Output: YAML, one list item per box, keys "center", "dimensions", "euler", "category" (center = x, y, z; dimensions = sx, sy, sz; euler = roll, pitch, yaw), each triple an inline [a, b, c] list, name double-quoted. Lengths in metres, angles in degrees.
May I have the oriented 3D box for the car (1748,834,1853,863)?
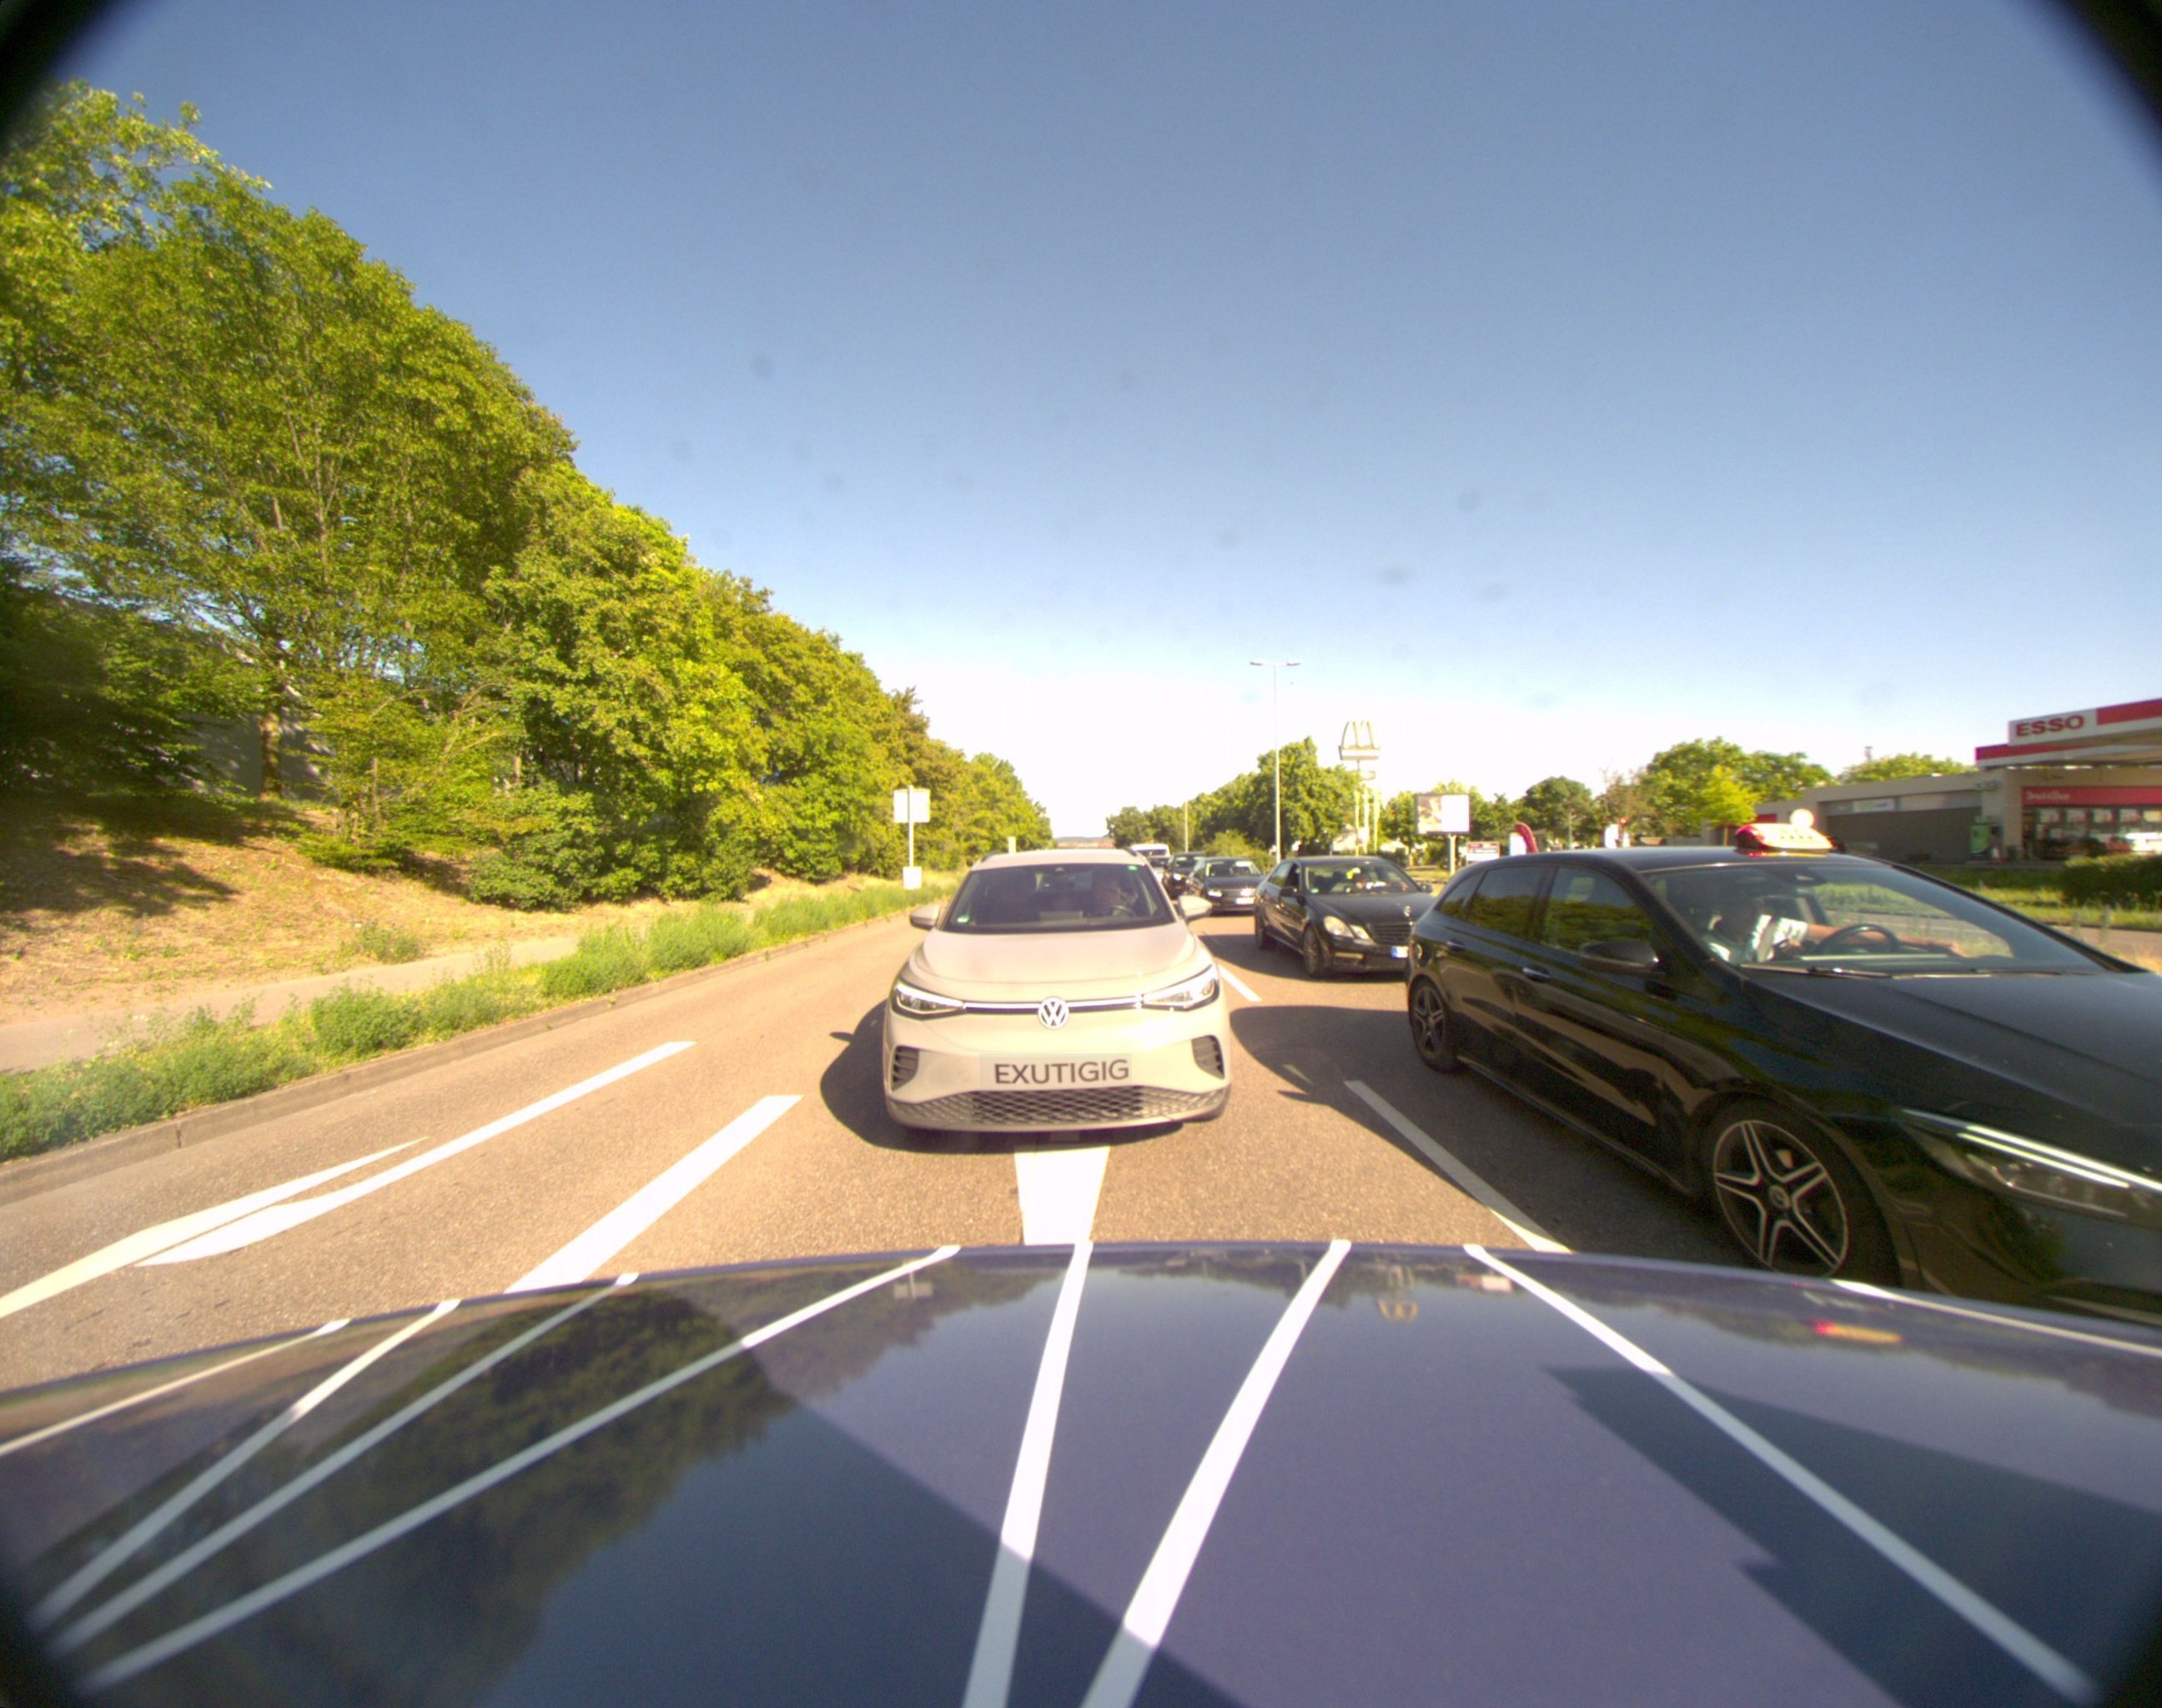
- center: [37.461, -0.291, 39.703]
  dimensions: [1.682, 1.401, 3.978]
  euler: [1, 1, 0]
  category: "car"

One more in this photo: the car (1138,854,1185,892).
- center: [3.571, 0.790, 34.177]
  dimensions: [1.635, 1.547, 3.777]
  euler: [-2, 0, 0]
  category: "car"

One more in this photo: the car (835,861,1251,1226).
- center: [-0.181, 0.898, 5.714]
  dimensions: [1.862, 1.573, 4.403]
  euler: [-2, 0, 0]
  category: "car"

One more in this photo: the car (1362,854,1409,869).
- center: [29.167, 0.722, 72.757]
  dimensions: [3.983, 1.401, 1.761]
  euler: [1, 1, -22]
  category: "car"

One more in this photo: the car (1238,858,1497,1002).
- center: [3.589, 0.849, 10.512]
  dimensions: [1.868, 1.430, 4.402]
  euler: [-2, 1, 0]
  category: "car"

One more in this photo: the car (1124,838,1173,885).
- center: [3.650, 0.384, 42.106]
  dimensions: [2.019, 2.349, 6.523]
  euler: [-2, 0, 0]
  category: "car"

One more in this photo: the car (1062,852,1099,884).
- center: [-0.046, 0.712, 39.867]
  dimensions: [1.763, 1.482, 4.402]
  euler: [-2, 1, 0]
  category: "car"

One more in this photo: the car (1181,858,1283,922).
- center: [3.872, 0.859, 20.228]
  dimensions: [1.797, 1.419, 4.287]
  euler: [-2, 0, 0]
  category: "car"

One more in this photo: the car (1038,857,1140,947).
- center: [0.135, 0.871, 15.771]
  dimensions: [1.763, 1.482, 4.402]
  euler: [-2, 1, 0]
  category: "car"

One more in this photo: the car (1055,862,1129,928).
- center: [0.264, 1.038, 20.939]
  dimensions: [1.763, 1.482, 4.402]
  euler: [-2, 1, 0]
  category: "car"

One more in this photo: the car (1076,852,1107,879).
- center: [0.613, 0.690, 47.034]
  dimensions: [1.763, 1.482, 4.402]
  euler: [-2, 1, 0]
  category: "car"

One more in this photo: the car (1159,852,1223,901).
- center: [3.903, 0.756, 27.488]
  dimensions: [1.674, 1.607, 3.879]
  euler: [-2, 0, 0]
  category: "car"

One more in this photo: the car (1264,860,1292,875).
- center: [19.651, 1.334, 76.022]
  dimensions: [1.763, 1.401, 3.978]
  euler: [1, 1, 0]
  category: "car"

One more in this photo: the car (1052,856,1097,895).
- center: [-0.259, 0.881, 33.045]
  dimensions: [1.763, 1.482, 4.402]
  euler: [-2, 1, 0]
  category: "car"

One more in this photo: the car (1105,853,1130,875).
- center: [2.927, 0.816, 62.127]
  dimensions: [1.763, 1.607, 4.402]
  euler: [-2, 1, 0]
  category: "car"

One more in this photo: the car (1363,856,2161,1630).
- center: [3.091, 0.816, 3.665]
  dimensions: [1.763, 1.482, 4.402]
  euler: [-2, 1, 0]
  category: "car"
